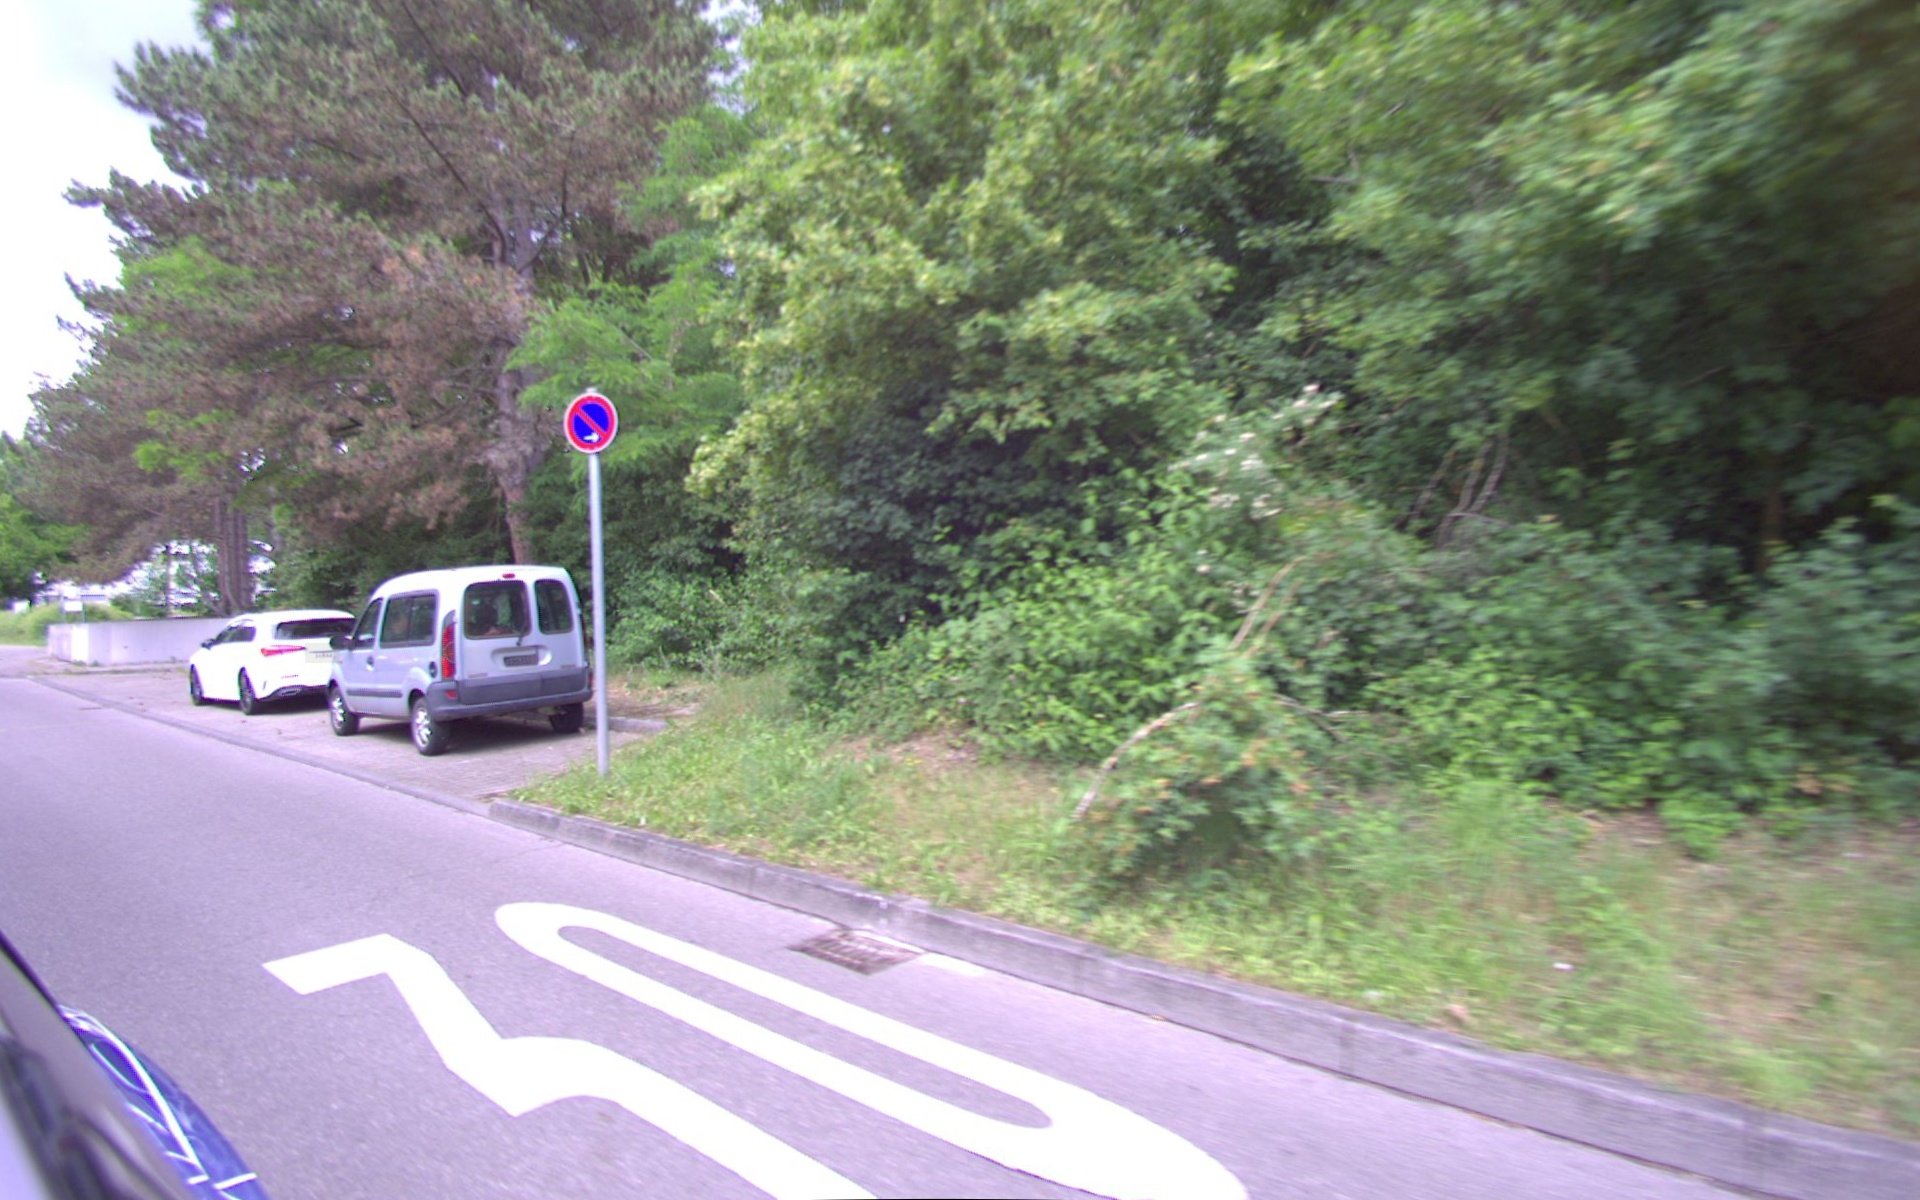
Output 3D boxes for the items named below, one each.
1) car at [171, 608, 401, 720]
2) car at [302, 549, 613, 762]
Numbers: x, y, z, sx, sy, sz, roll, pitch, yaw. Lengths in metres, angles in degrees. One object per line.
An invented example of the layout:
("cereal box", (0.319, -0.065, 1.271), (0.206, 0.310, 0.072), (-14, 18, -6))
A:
("car", (-10.524, 0.917, 15.679), (4.369, 1.413, 1.787), (-2, 1, 40))
("car", (-5.735, 0.547, 11.316), (4.104, 1.935, 1.702), (-3, 1, 43))
